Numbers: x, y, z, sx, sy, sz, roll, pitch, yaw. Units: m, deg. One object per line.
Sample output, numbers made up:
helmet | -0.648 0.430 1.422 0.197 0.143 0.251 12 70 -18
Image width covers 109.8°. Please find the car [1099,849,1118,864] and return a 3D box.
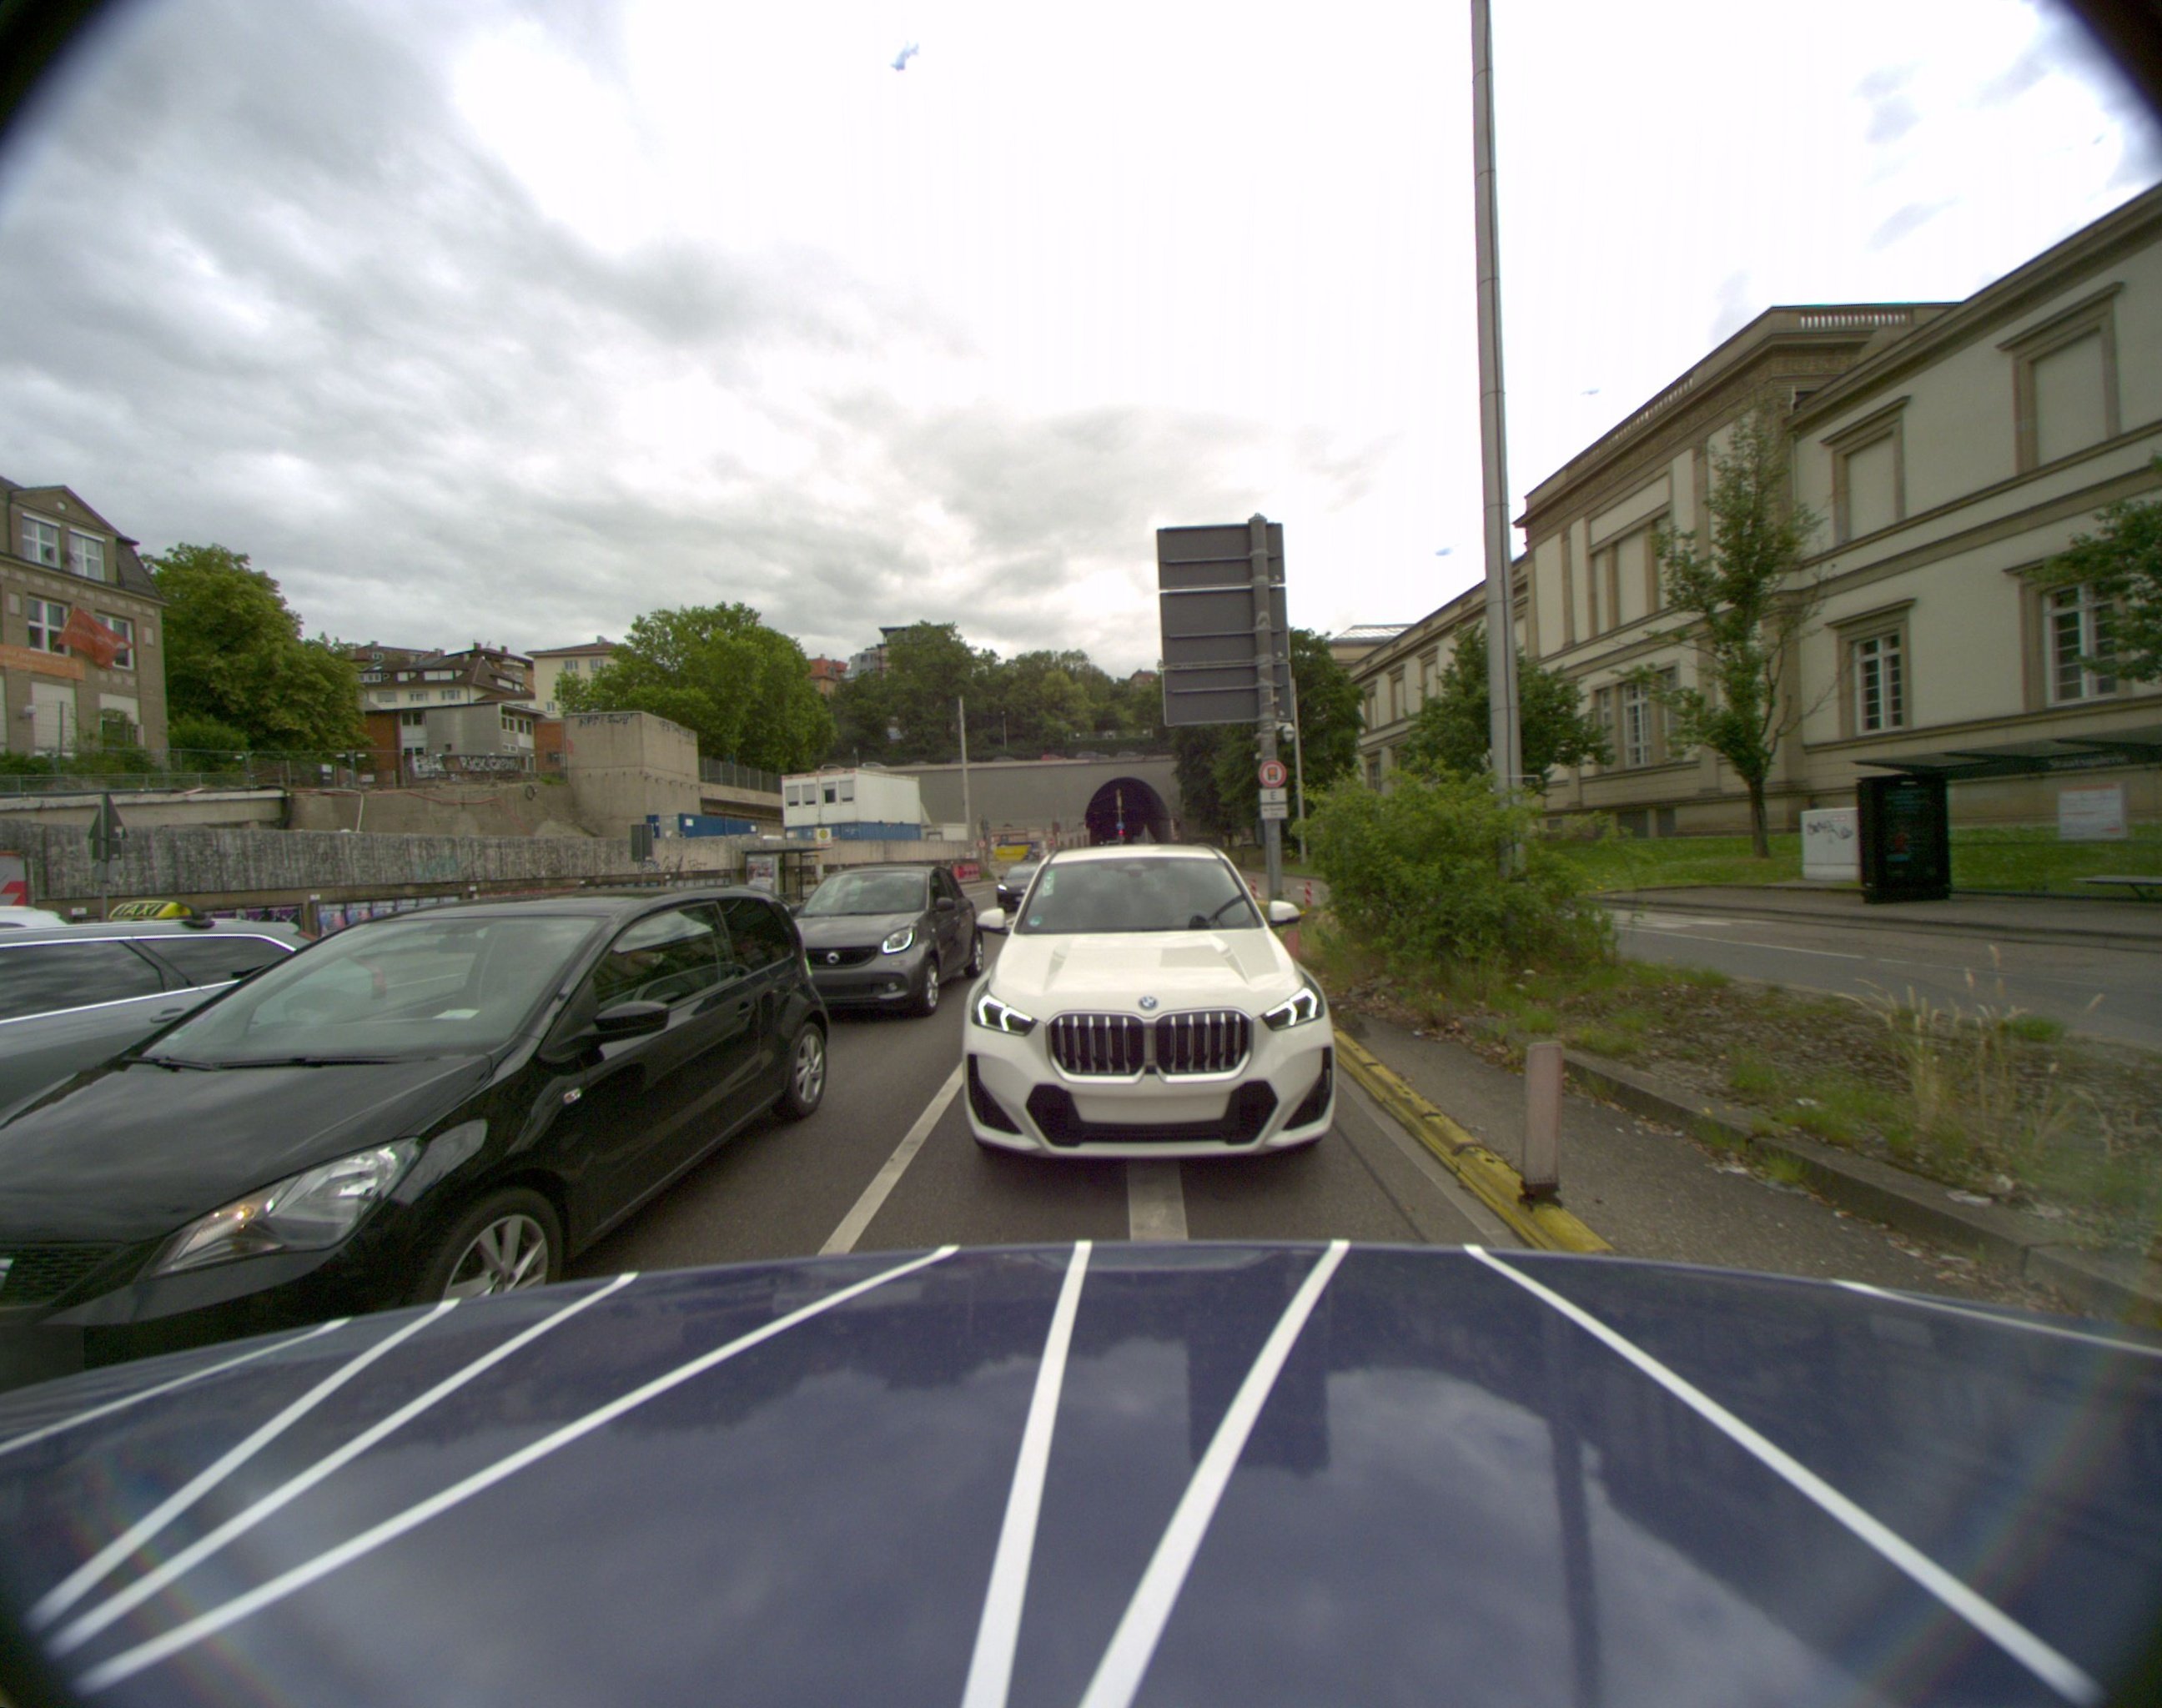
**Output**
car | 2.582 0.199 73.069 1.680 1.358 3.806 -2 1 1

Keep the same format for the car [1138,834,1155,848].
car | 8.250 -1.638 95.766 1.902 1.615 4.109 -2 0 6

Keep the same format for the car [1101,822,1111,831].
car | 5.033 -5.507 153.824 1.778 1.609 3.802 -2 1 -1

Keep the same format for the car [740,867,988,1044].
car | -2.253 0.985 8.892 1.720 1.535 3.575 -2 0 2

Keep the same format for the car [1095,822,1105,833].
car | 4.405 -6.183 176.743 2.203 2.493 4.758 -2 1 2

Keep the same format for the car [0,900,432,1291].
car | -5.856 1.213 3.304 1.829 1.615 4.808 -2 1 1

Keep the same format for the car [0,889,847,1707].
car | -2.571 1.023 3.343 1.829 1.450 3.700 -2 1 1

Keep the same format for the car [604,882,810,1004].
car | -5.456 1.236 11.453 1.665 1.423 2.714 -2 1 1

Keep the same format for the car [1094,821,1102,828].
car | 4.543 -8.039 204.744 1.946 1.714 4.000 -2 1 4

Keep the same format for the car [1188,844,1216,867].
car | 9.414 0.087 59.250 1.836 1.736 4.001 -2 1 6

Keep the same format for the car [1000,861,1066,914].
car | -1.495 1.027 24.813 1.680 1.450 3.807 -2 1 3

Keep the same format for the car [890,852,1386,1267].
car | 0.262 0.853 4.972 1.987 1.615 3.670 -2 1 1

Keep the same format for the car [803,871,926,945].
car | -4.918 1.171 17.813 1.680 1.358 3.806 -2 1 1

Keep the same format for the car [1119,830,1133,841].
car | 7.141 -2.878 119.682 1.903 1.615 4.107 -2 0 0

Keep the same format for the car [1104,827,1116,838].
car | 5.111 -3.795 135.084 1.903 1.615 4.107 -2 0 0

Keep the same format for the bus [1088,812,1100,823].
bus | 3.839 -11.060 231.427 3.171 3.129 9.118 -2 1 -1

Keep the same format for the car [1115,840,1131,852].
car | 4.895 -0.937 89.415 1.680 1.358 3.806 -2 1 1

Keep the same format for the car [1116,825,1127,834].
car | 7.405 -4.386 137.545 1.646 1.469 3.574 -2 0 -2

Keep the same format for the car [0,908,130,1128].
car | -9.106 1.325 4.445 1.680 1.615 4.209 -2 1 1
